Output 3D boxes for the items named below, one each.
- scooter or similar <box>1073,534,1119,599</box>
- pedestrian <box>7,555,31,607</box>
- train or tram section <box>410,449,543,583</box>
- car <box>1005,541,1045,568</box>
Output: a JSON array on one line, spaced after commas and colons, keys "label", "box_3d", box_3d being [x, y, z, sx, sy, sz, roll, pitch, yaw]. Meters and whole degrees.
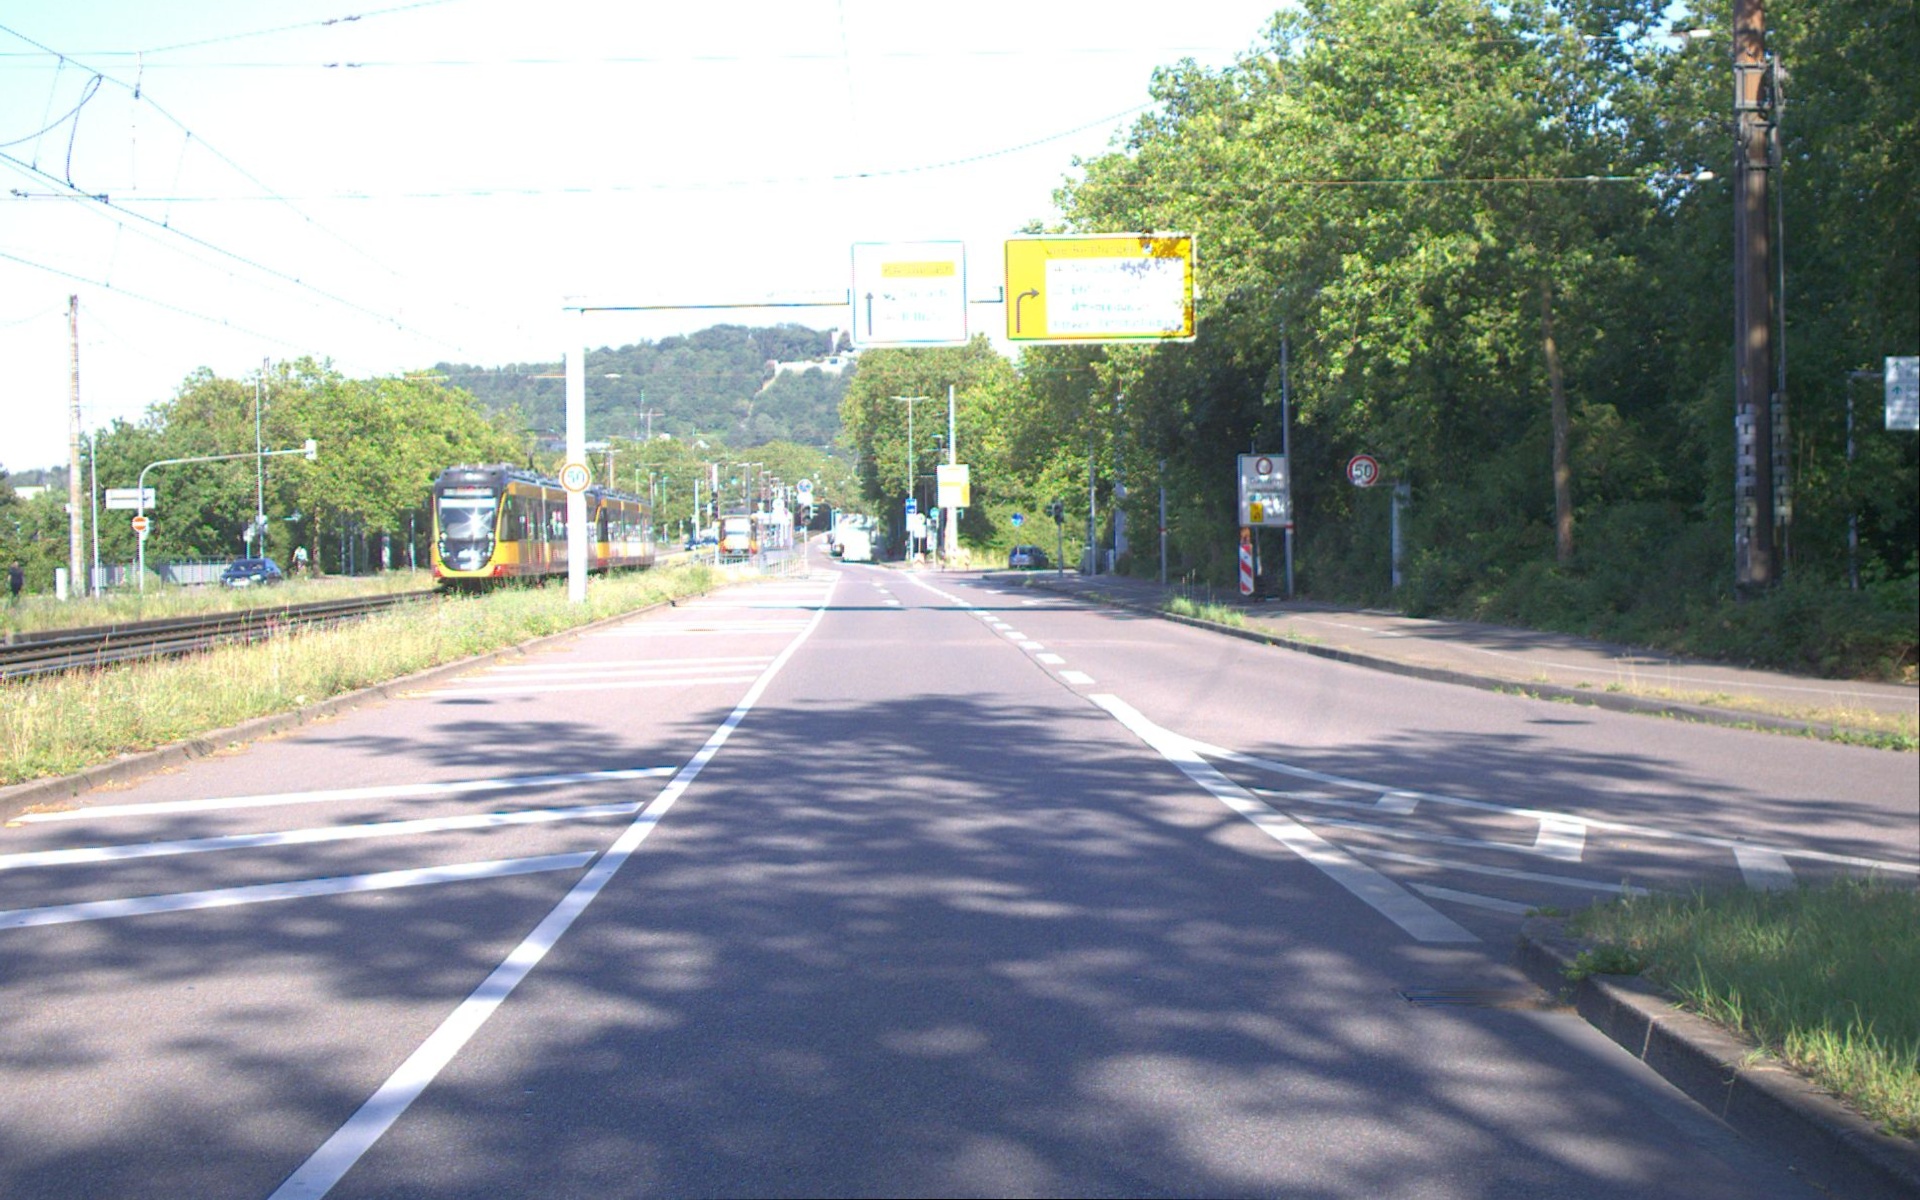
[{"label": "scooter or similar", "box_3d": [5.760, -1.436, 146.111, 1.681, 2.706, 4.869, 0, 1, -1]}, {"label": "pedestrian", "box_3d": [-33.120, -0.677, 120.965, 0.540, 1.815, 0.650, 1, 1, 21]}, {"label": "train or tram section", "box_3d": [-14.863, -2.548, 106.532, 2.804, 3.889, 12.334, 0, 1, -2]}, {"label": "car", "box_3d": [3.802, -2.676, 200.528, 2.086, 1.560, 3.955, 0, 1, 5]}]
